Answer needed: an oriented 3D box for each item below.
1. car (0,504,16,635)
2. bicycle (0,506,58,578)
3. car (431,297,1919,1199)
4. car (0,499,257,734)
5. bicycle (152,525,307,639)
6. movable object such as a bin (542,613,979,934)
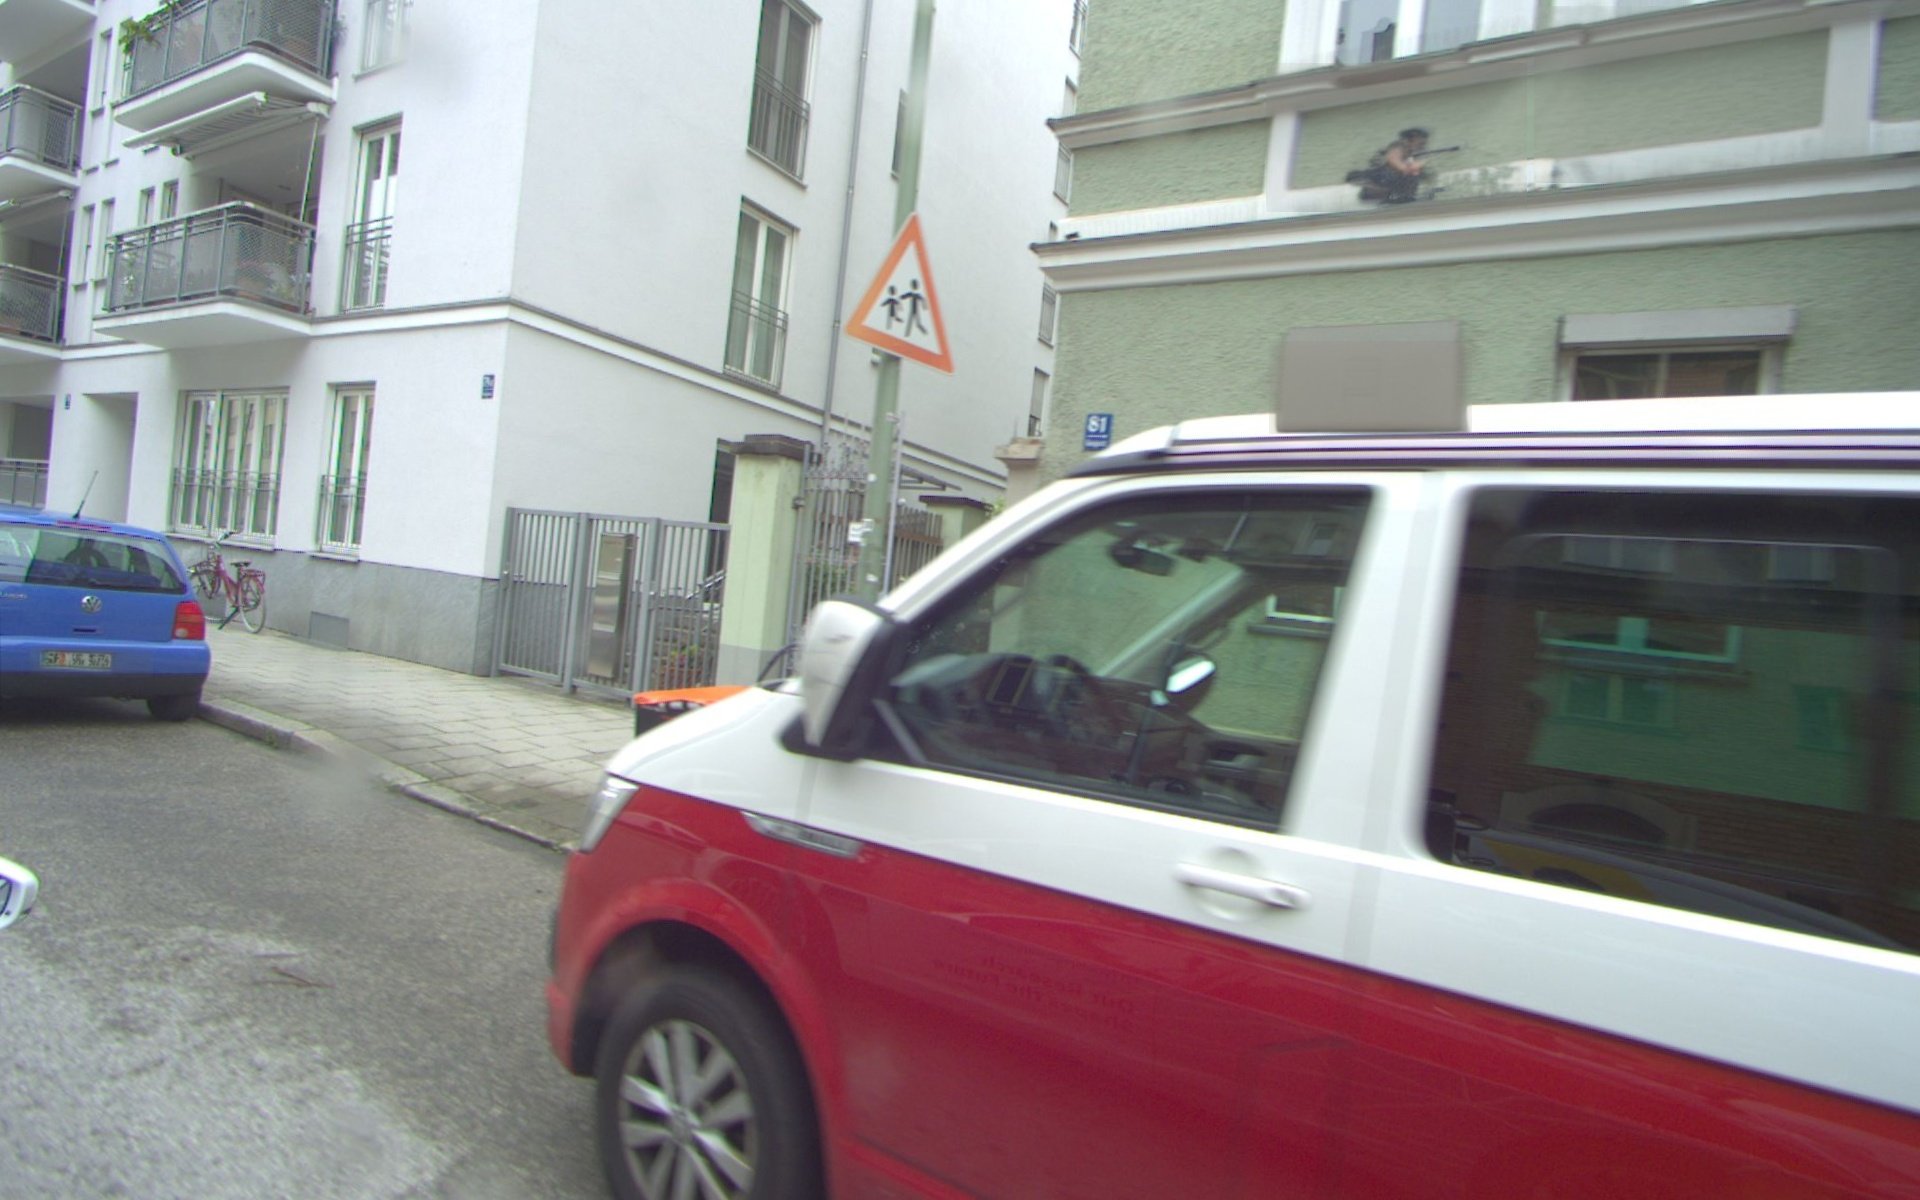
[{"bbox_3d":[-11.098,-0.418,9.637,4.301,1.484,1.668,7,-1,29],"label":"car"},{"bbox_3d":[-16.086,-1.011,17.162,1.780,1.113,0.568,7,4,32],"label":"bicycle"},{"bbox_3d":[1.198,0.700,2.177,4.703,2.056,1.856,7,0,32],"label":"car"},{"bbox_3d":[-7.249,-0.026,7.609,3.657,1.440,1.718,7,-1,31],"label":"car"},{"bbox_3d":[-9.061,-0.233,12.460,1.941,1.186,0.802,7,0,32],"label":"bicycle"},{"bbox_3d":[-1.113,0.789,5.427,2.127,1.209,1.020,7,3,32],"label":"movable object such as a bin"}]
